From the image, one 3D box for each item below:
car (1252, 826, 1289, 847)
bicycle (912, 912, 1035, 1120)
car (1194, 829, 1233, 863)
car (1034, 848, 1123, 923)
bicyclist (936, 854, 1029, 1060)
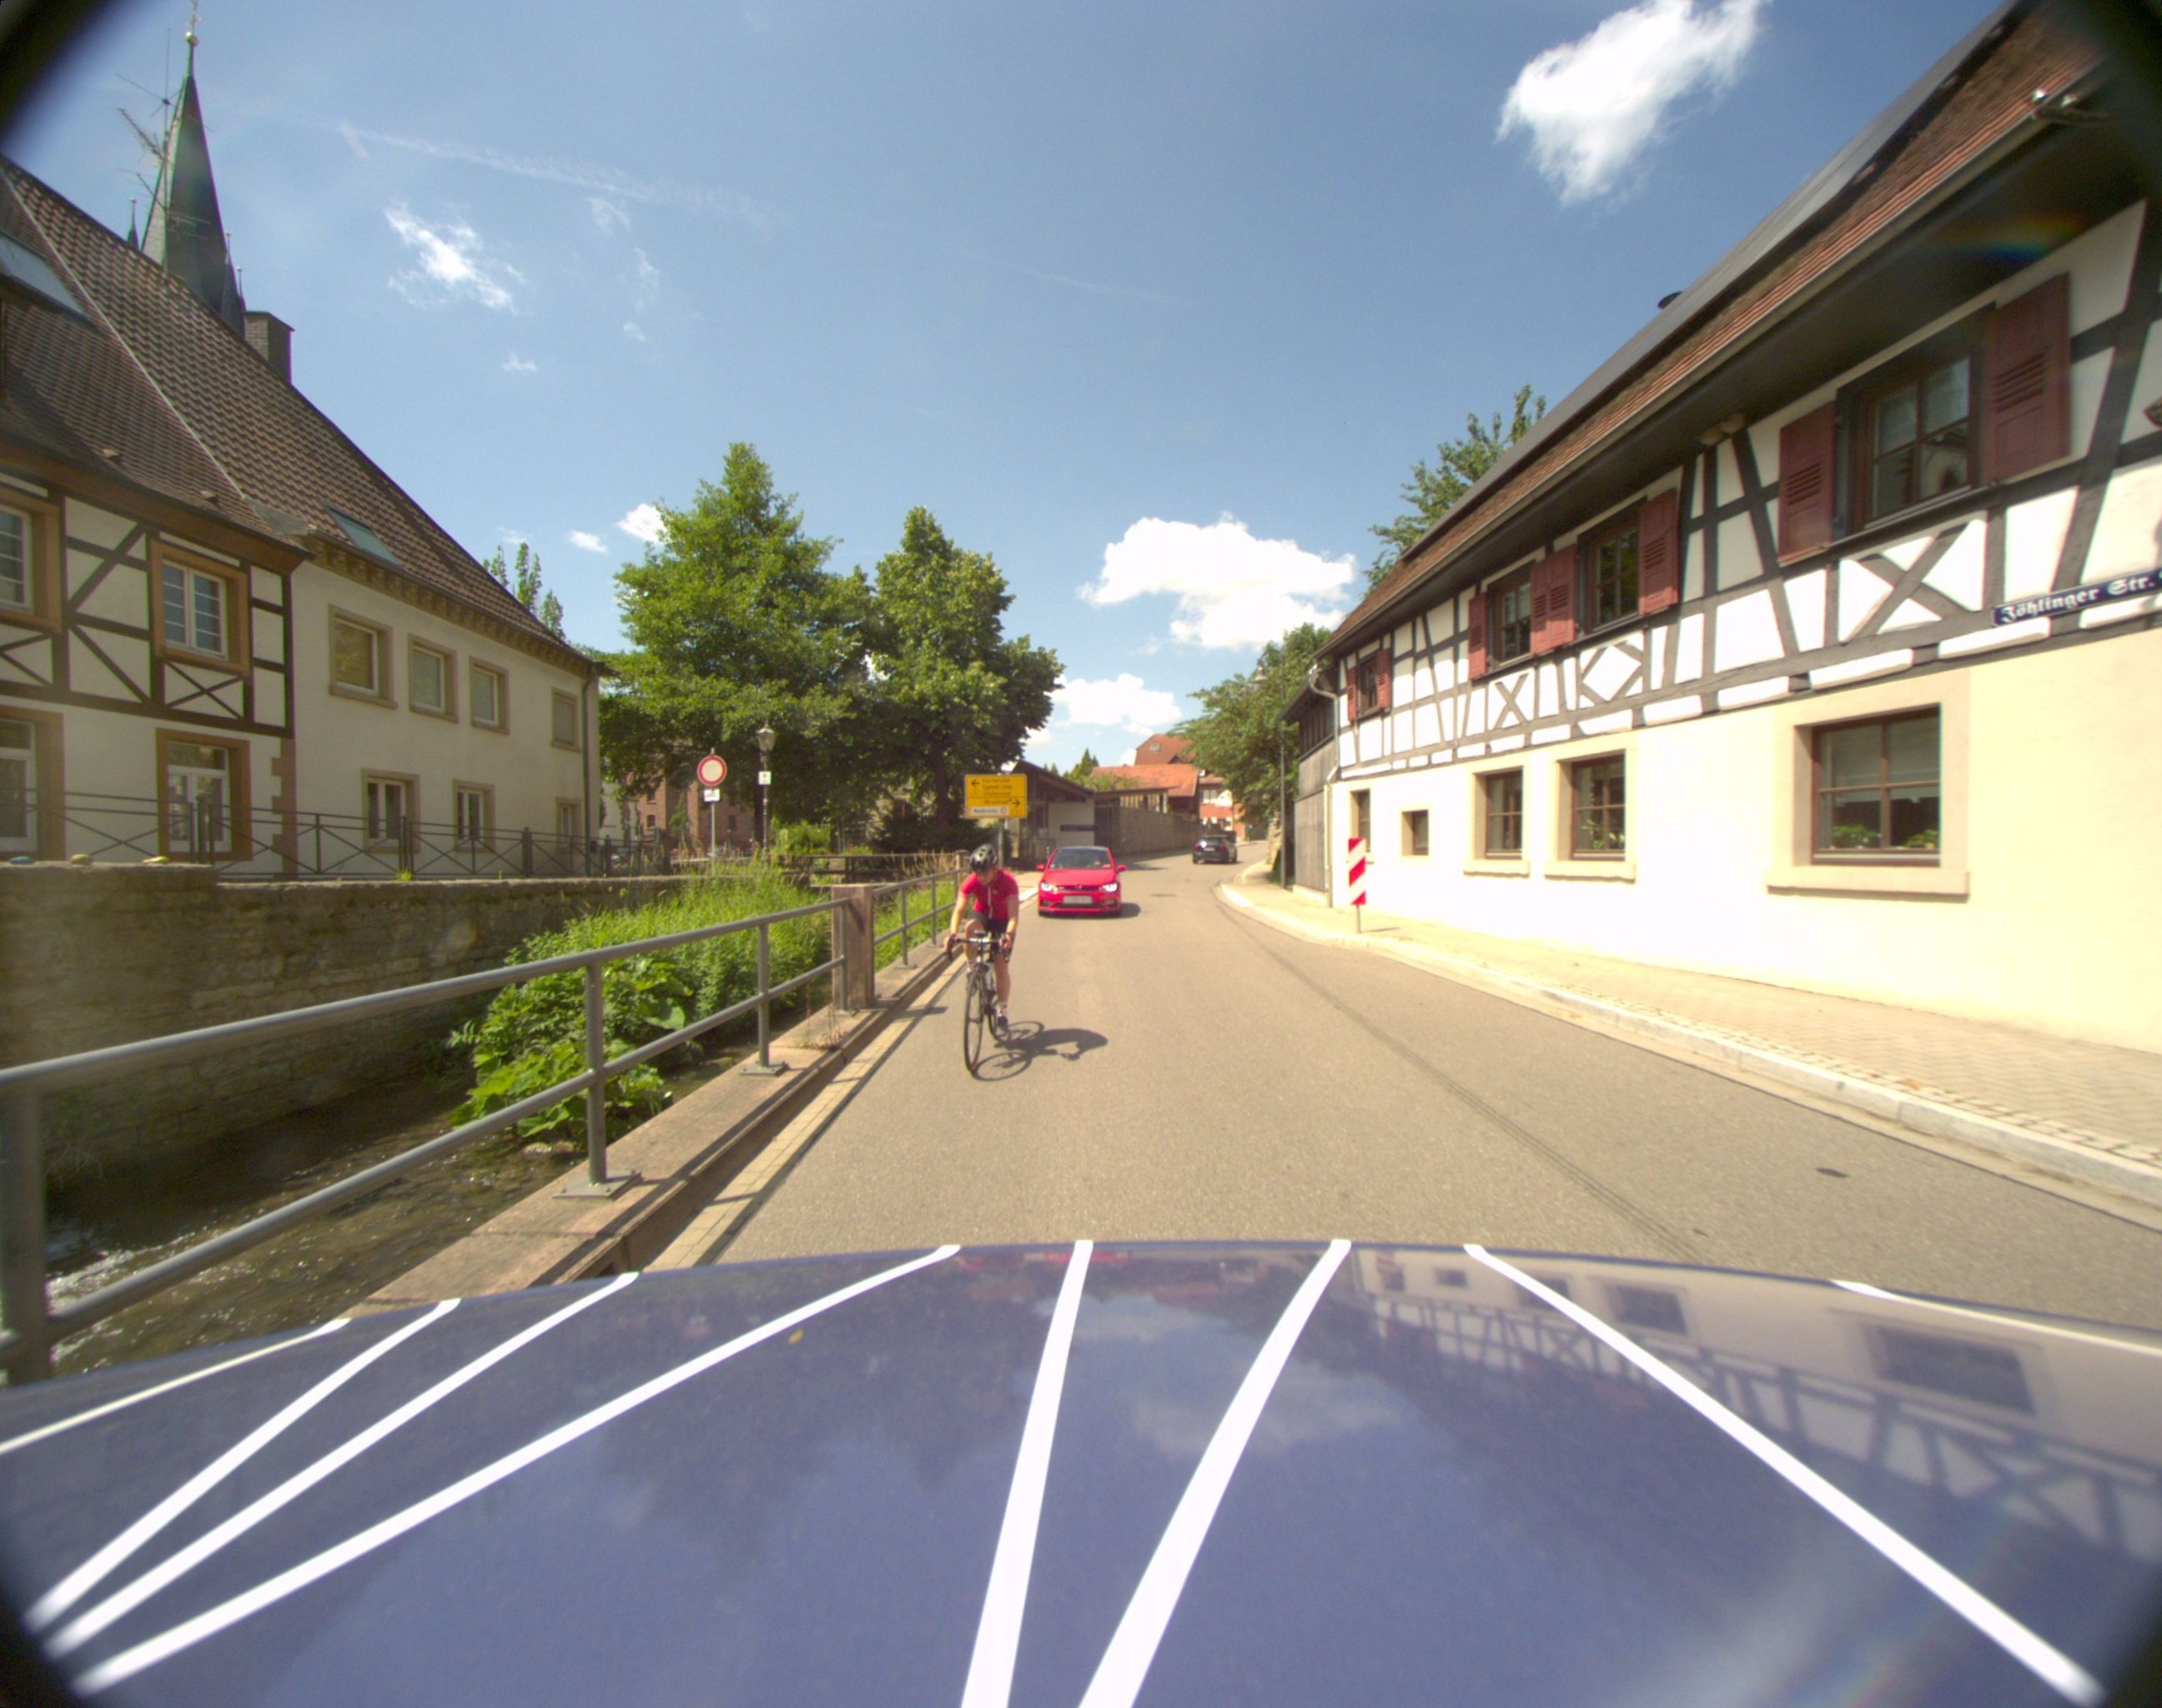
[{"bbox_3d":[14.449,-1.353,57.759,1.896,1.492,4.620,1,2,24],"label":"car"},{"bbox_3d":[-0.708,1.056,5.603,0.531,1.070,2.054,-1,1,2],"label":"bicycle"},{"bbox_3d":[6.750,-0.468,38.453,1.701,1.458,4.437,1,4,12],"label":"car"},{"bbox_3d":[0.033,0.591,16.199,1.669,1.345,3.494,0,2,3],"label":"car"},{"bbox_3d":[-0.699,0.709,5.568,0.532,1.396,0.755,-1,1,2],"label":"bicyclist"}]
